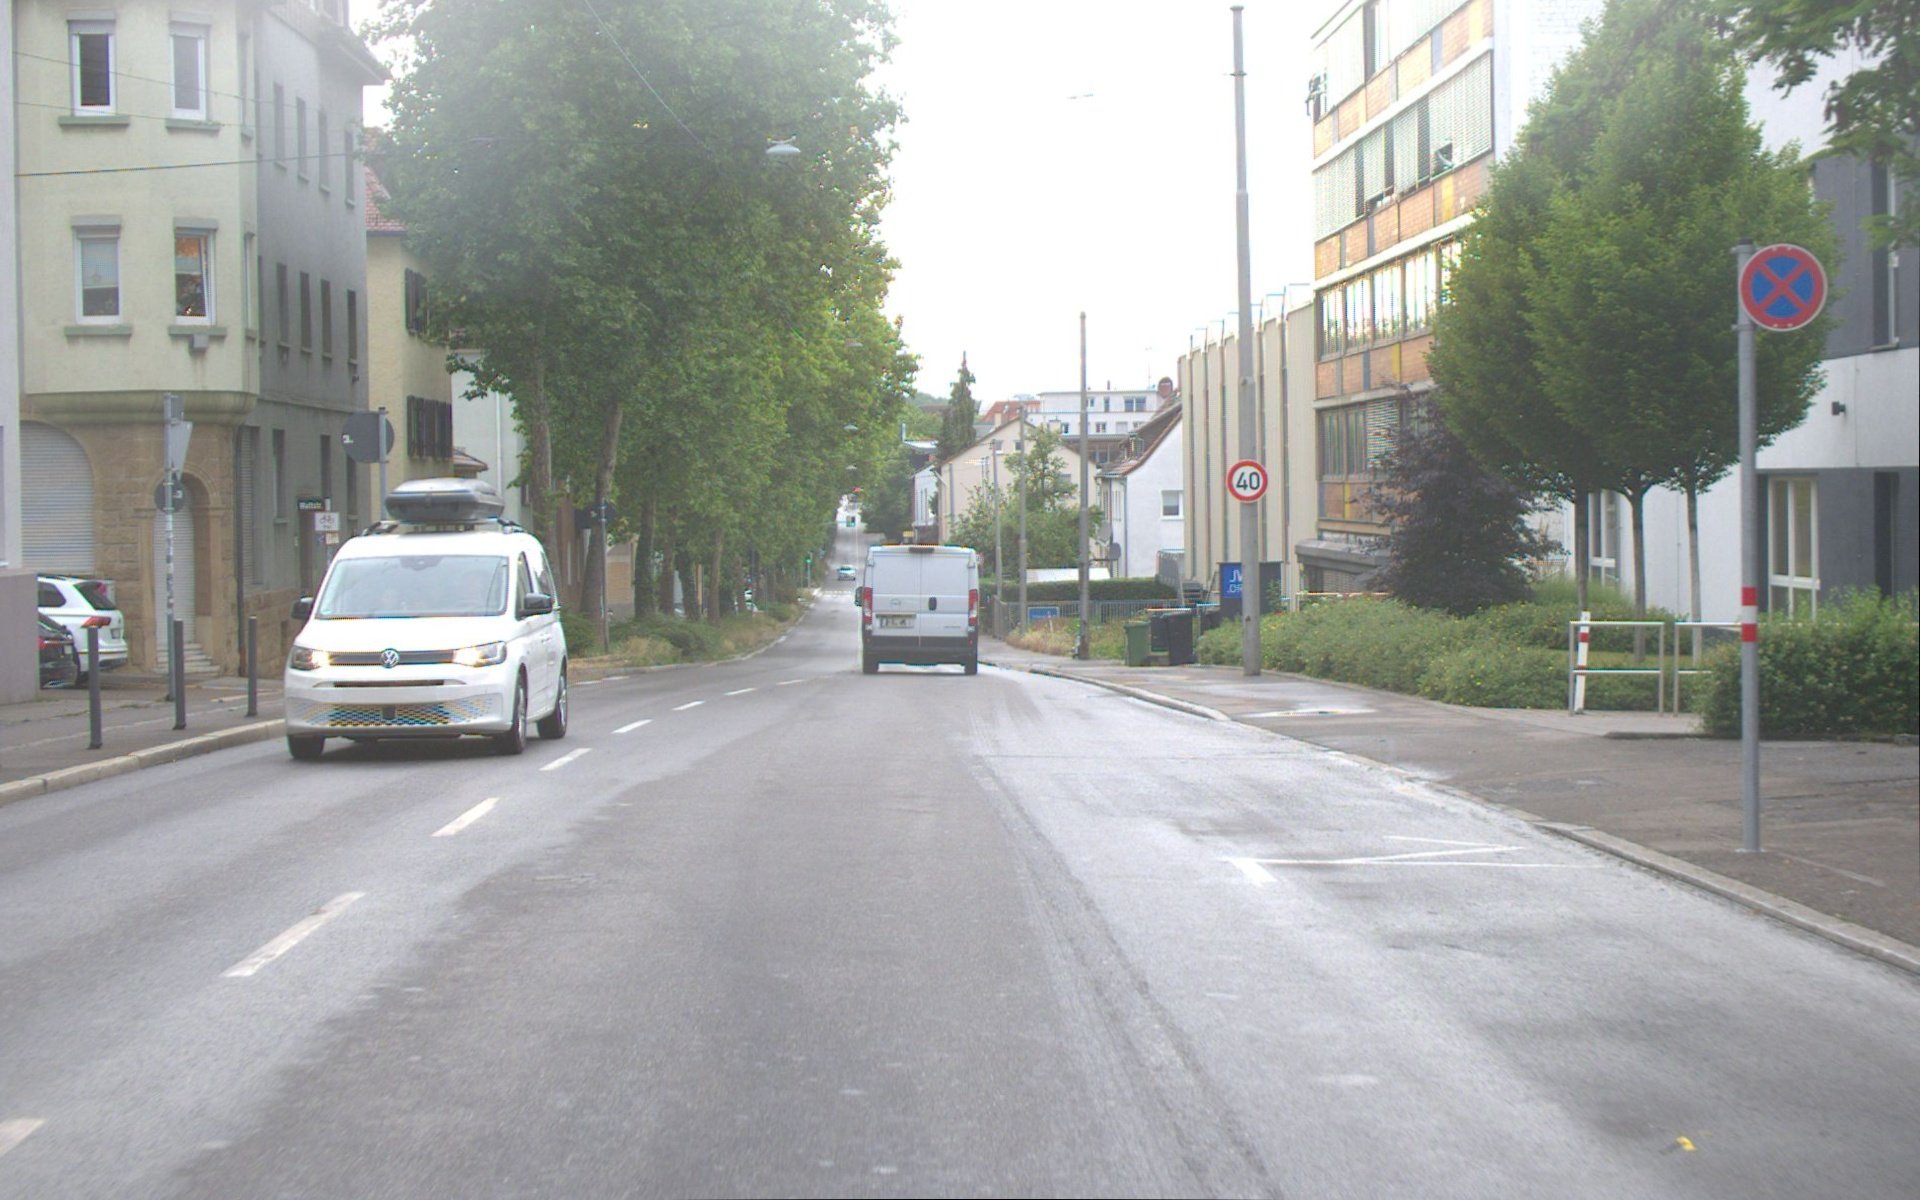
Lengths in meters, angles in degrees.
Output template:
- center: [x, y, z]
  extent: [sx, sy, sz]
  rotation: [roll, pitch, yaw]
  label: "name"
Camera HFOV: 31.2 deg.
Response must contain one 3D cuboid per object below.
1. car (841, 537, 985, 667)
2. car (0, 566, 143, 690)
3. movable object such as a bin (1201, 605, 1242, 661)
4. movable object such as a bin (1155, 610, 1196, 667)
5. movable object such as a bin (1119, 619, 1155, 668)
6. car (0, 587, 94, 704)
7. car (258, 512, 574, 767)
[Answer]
- center: [-0.882, -0.016, 61.525]
  extent: [2.346, 2.153, 4.778]
  rotation: [-1, 2, -3]
  label: "car"
- center: [-14.428, 0.353, 50.773]
  extent: [4.182, 1.698, 2.000]
  rotation: [3, 0, -1]
  label: "car"
- center: [5.193, 0.656, 68.412]
  extent: [0.695, 1.078, 0.778]
  rotation: [-3, 0, 0]
  label: "movable object such as a bin"
- center: [4.277, 0.756, 68.285]
  extent: [0.695, 1.078, 0.778]
  rotation: [-3, 0, 0]
  label: "movable object such as a bin"
- center: [3.497, 0.856, 68.116]
  extent: [0.619, 0.933, 0.686]
  rotation: [-3, 0, 0]
  label: "movable object such as a bin"
- center: [-13.646, 0.521, 45.216]
  extent: [3.986, 1.448, 2.000]
  rotation: [3, 0, -2]
  label: "car"
- center: [-4.301, 0.286, 27.850]
  extent: [1.882, 1.863, 4.453]
  rotation: [-1, 0, -1]
  label: "car"
